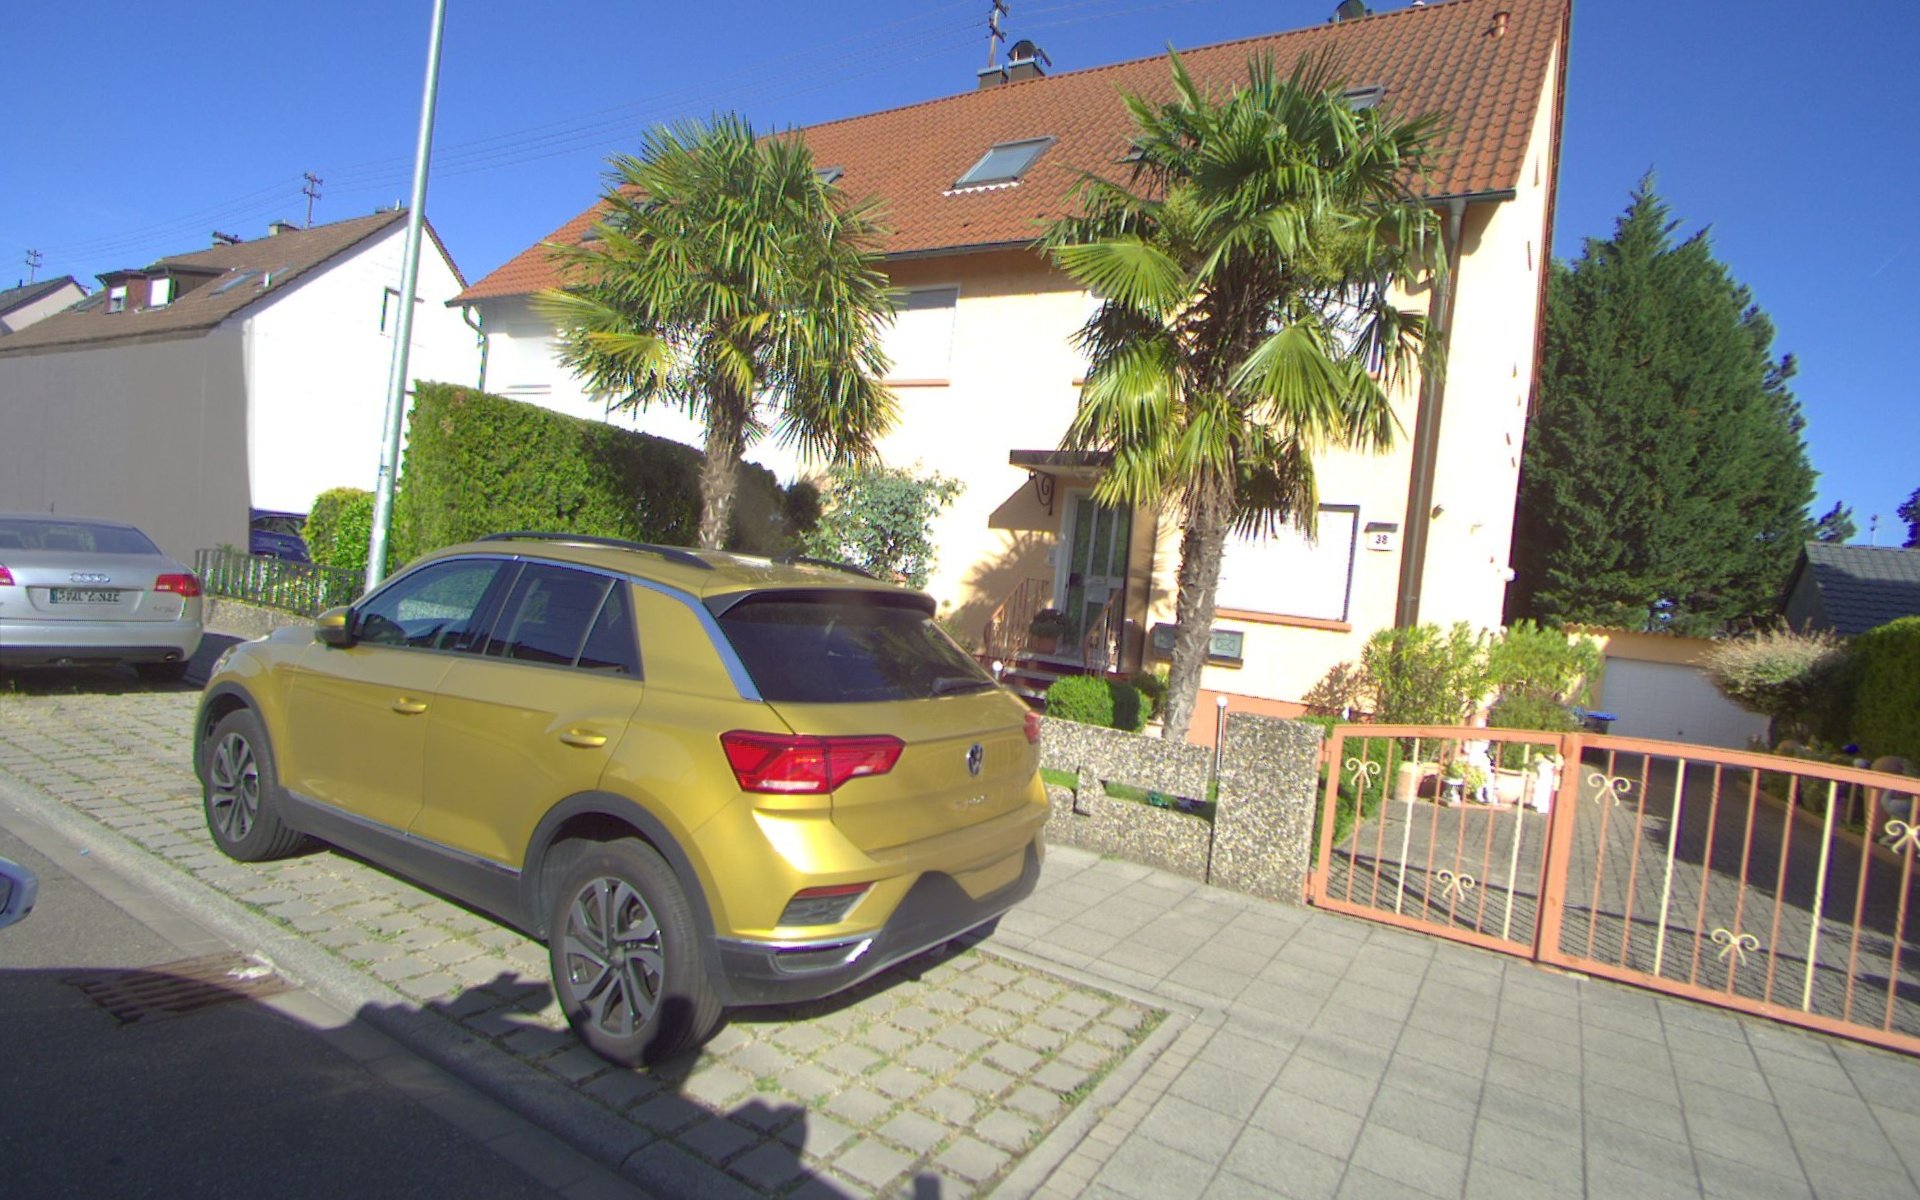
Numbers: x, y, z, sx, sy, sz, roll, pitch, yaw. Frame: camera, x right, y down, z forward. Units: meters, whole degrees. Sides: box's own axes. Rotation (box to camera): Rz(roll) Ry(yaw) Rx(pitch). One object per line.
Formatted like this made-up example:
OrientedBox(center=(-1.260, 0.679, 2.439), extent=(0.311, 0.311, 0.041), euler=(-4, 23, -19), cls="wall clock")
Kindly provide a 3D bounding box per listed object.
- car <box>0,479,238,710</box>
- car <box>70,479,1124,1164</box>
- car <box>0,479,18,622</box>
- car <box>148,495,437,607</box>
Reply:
OrientedBox(center=(-8.002, -0.243, 8.189), extent=(4.620, 1.465, 1.749), euler=(8, 2, 32), cls="car")
OrientedBox(center=(-1.929, 0.452, 4.563), extent=(4.845, 1.579, 1.806), euler=(6, 1, 32), cls="car")
OrientedBox(center=(-12.565, -0.804, 11.314), extent=(4.651, 1.517, 1.778), euler=(7, 1, 33), cls="car")
OrientedBox(center=(-13.674, -0.943, 20.915), extent=(2.159, 1.675, 4.423), euler=(6, -1, 29), cls="car")
